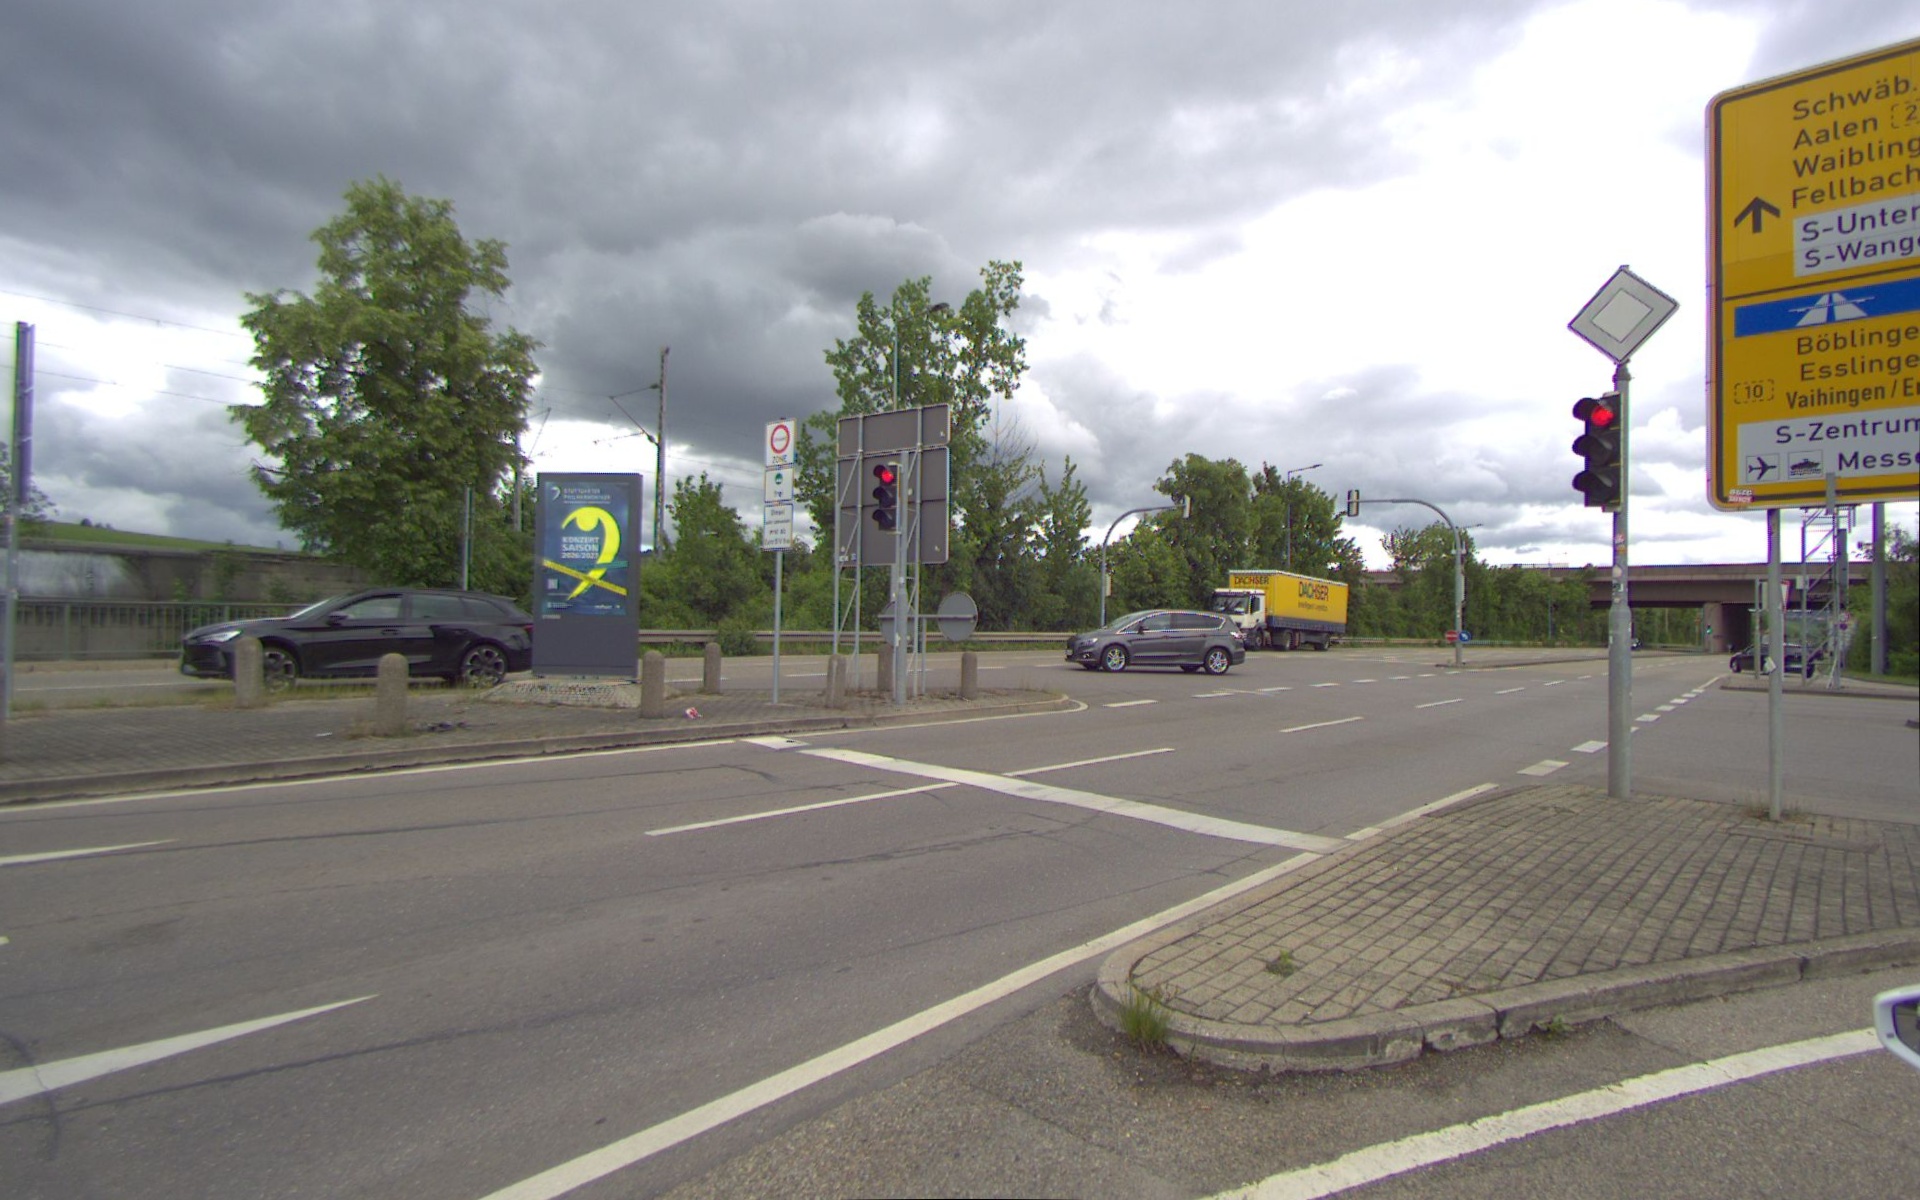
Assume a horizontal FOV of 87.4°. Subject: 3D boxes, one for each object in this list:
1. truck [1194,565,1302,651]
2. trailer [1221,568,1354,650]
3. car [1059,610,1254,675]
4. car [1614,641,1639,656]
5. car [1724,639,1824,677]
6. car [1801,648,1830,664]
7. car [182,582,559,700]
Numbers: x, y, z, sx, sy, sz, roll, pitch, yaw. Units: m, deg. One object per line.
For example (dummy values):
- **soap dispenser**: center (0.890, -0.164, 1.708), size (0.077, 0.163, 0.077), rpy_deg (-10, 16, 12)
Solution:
- **truck**: center (15.100, 0.431, 52.426), size (2.838, 4.139, 6.455), rpy_deg (3, 1, 40)
- **trailer**: center (18.697, 0.567, 56.672), size (2.838, 4.139, 11.370), rpy_deg (3, 1, 40)
- **car**: center (5.095, 1.091, 26.328), size (4.609, 1.592, 1.953), rpy_deg (1, 0, -9)
- **car**: center (78.243, 5.704, 117.904), size (1.842, 1.402, 3.846), rpy_deg (5, 3, 42)
- **car**: center (36.596, 2.564, 45.292), size (1.876, 1.440, 3.996), rpy_deg (2, 0, 12)
- **car**: center (90.250, 5.870, 105.902), size (4.084, 1.483, 1.974), rpy_deg (5, -3, -45)
- **car**: center (-8.541, 0.534, 14.771), size (4.580, 1.477, 1.934), rpy_deg (1, 0, -39)
